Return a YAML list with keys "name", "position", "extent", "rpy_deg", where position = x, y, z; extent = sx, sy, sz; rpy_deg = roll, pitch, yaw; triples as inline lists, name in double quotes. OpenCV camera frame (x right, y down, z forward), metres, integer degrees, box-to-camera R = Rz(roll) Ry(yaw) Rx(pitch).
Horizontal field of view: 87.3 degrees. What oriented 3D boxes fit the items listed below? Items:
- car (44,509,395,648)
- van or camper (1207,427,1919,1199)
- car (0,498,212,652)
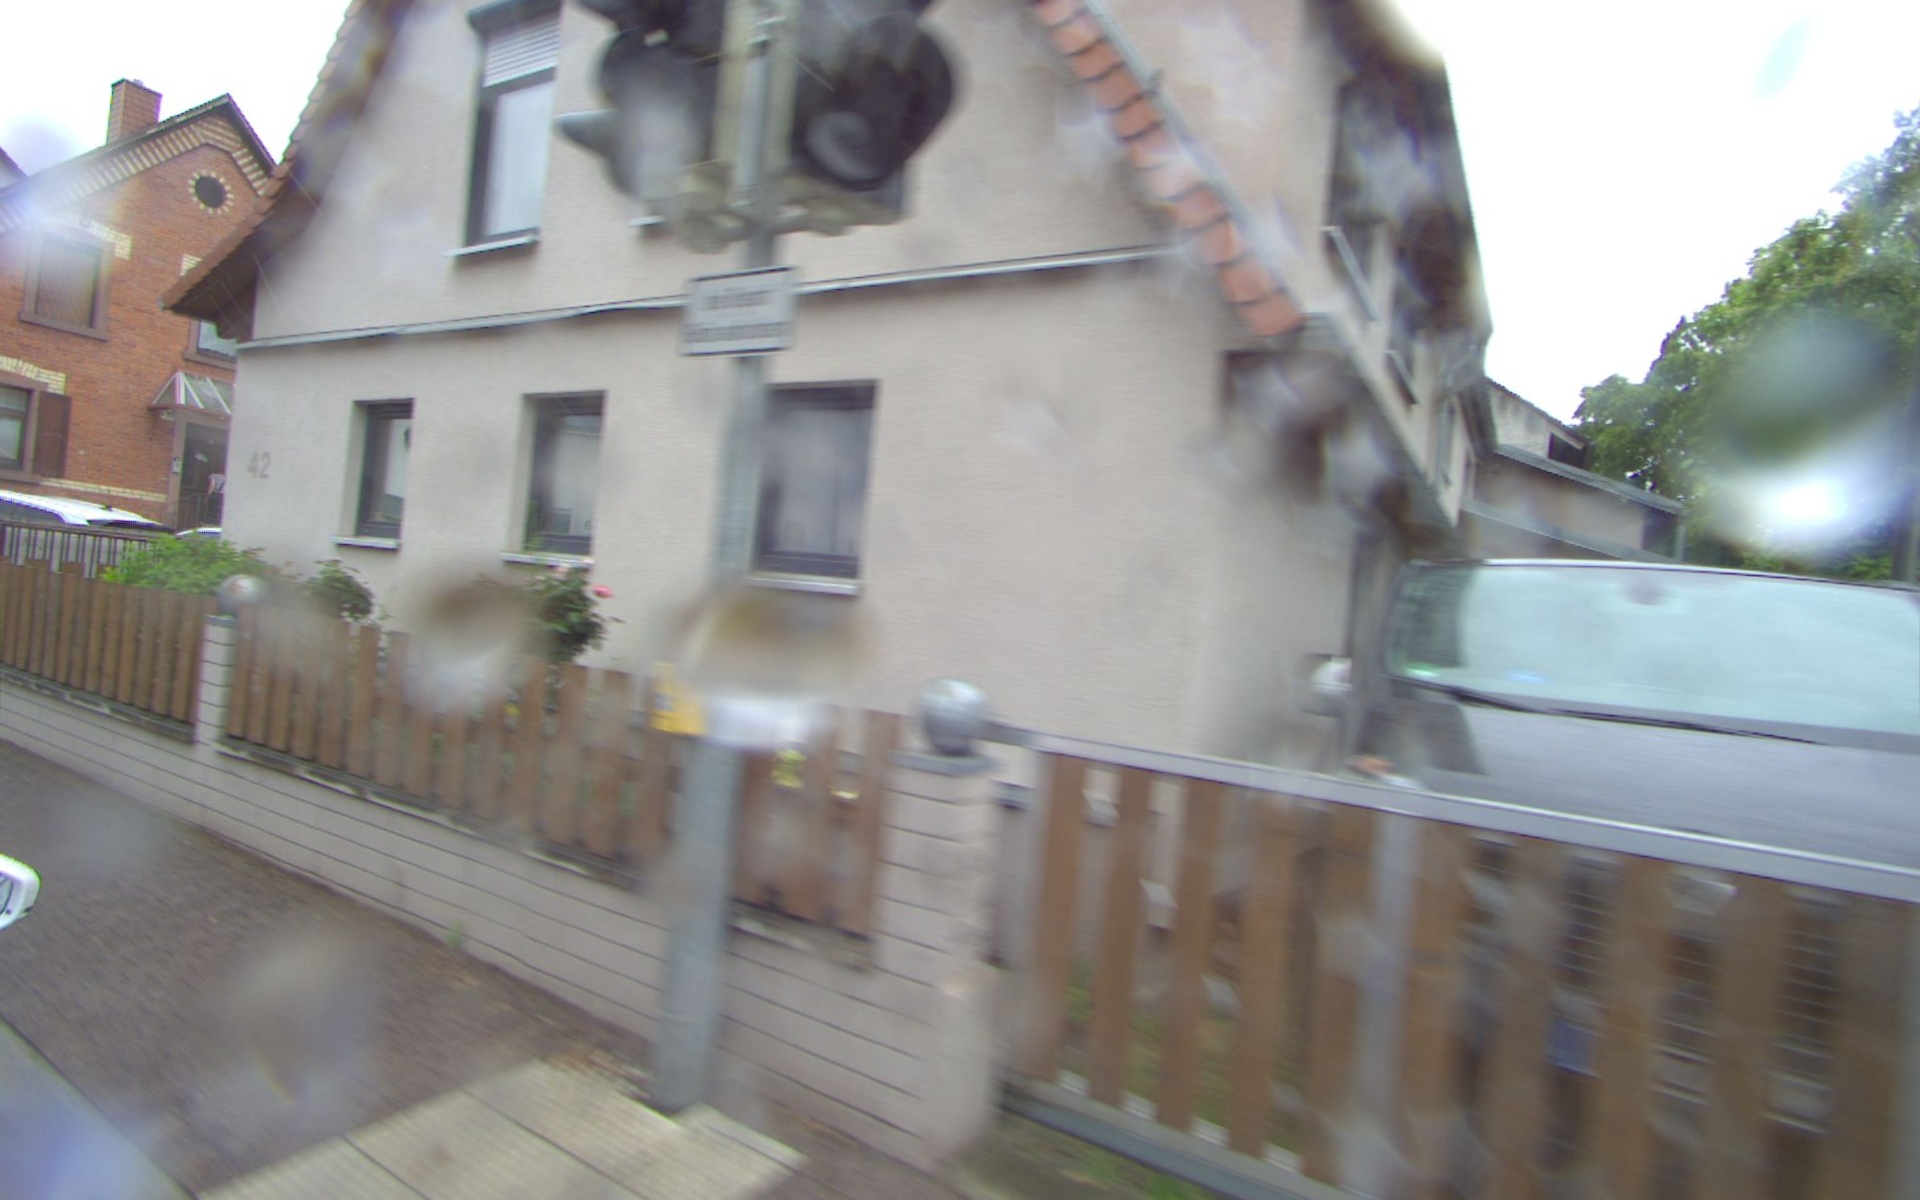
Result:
- name: "car"
  position: [-11.639, -0.309, 15.984]
  extent: [4.211, 1.535, 1.878]
  rpy_deg: [8, 0, 6]
- name: "van or camper"
  position: [2.782, 0.855, 4.524]
  extent: [1.844, 1.944, 5.084]
  rpy_deg: [7, -3, 29]
- name: "car"
  position: [-12.563, -0.522, 12.772]
  extent: [4.536, 1.608, 1.878]
  rpy_deg: [9, -1, -1]
